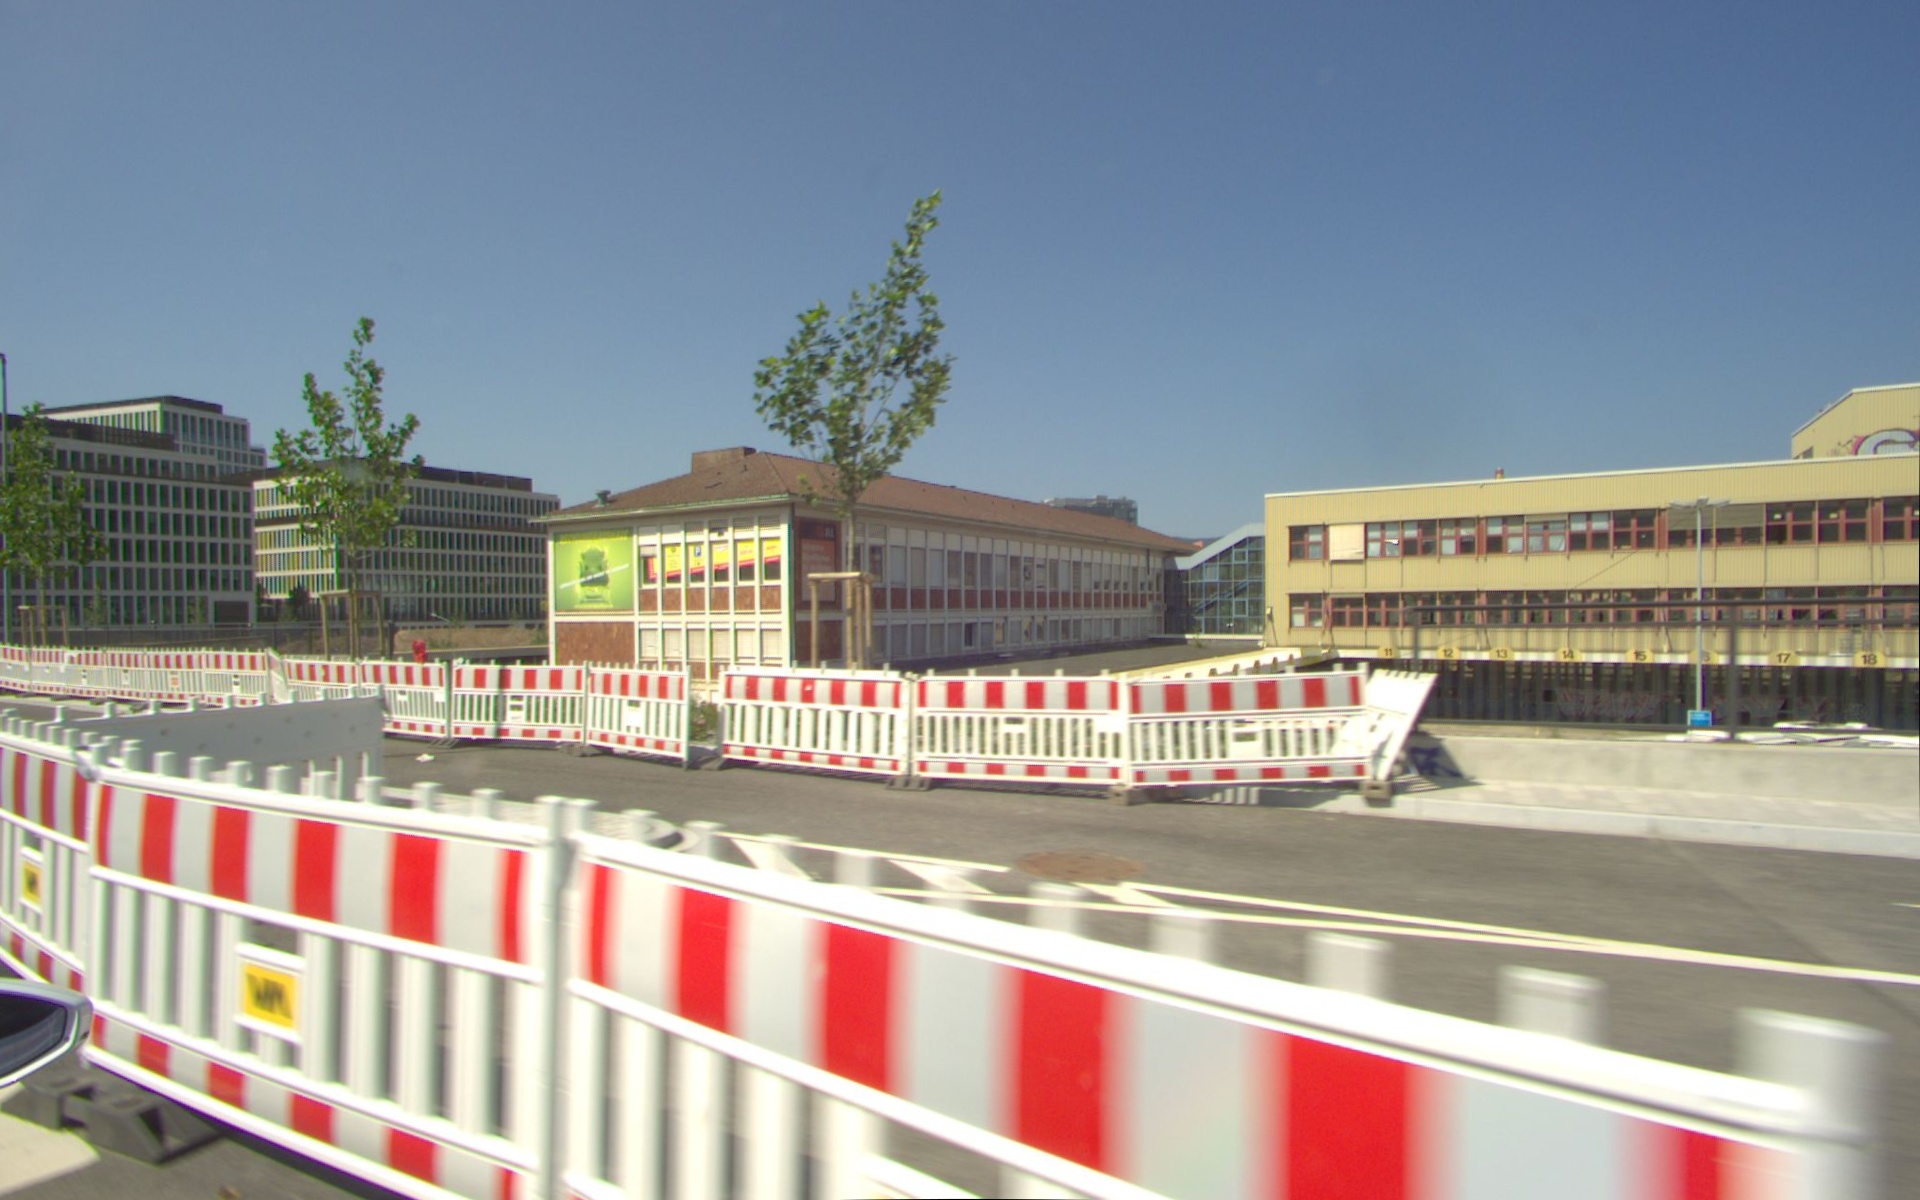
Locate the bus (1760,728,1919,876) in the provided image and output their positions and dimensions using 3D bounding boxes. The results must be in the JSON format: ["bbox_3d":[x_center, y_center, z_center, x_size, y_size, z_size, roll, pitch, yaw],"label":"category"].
[{"bbox_3d":[35.113,6.705,35.840,17.198,3.812,2.656,0,-1,-25],"label":"bus"}]

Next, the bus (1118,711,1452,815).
[{"bbox_3d":[13.222,6.648,41.349,12.887,3.812,2.666,-1,-1,-1],"label":"bus"}]

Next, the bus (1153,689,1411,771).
[{"bbox_3d":[16.832,6.754,52.692,12.889,3.812,2.665,0,-1,-5],"label":"bus"}]

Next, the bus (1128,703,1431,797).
[{"bbox_3d":[14.350,6.765,45.544,12.887,3.812,2.666,-1,-1,-1],"label":"bus"}]

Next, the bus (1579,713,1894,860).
[{"bbox_3d":[29.803,6.672,37.883,16.869,3.812,2.654,0,-1,-28],"label":"bus"}]
